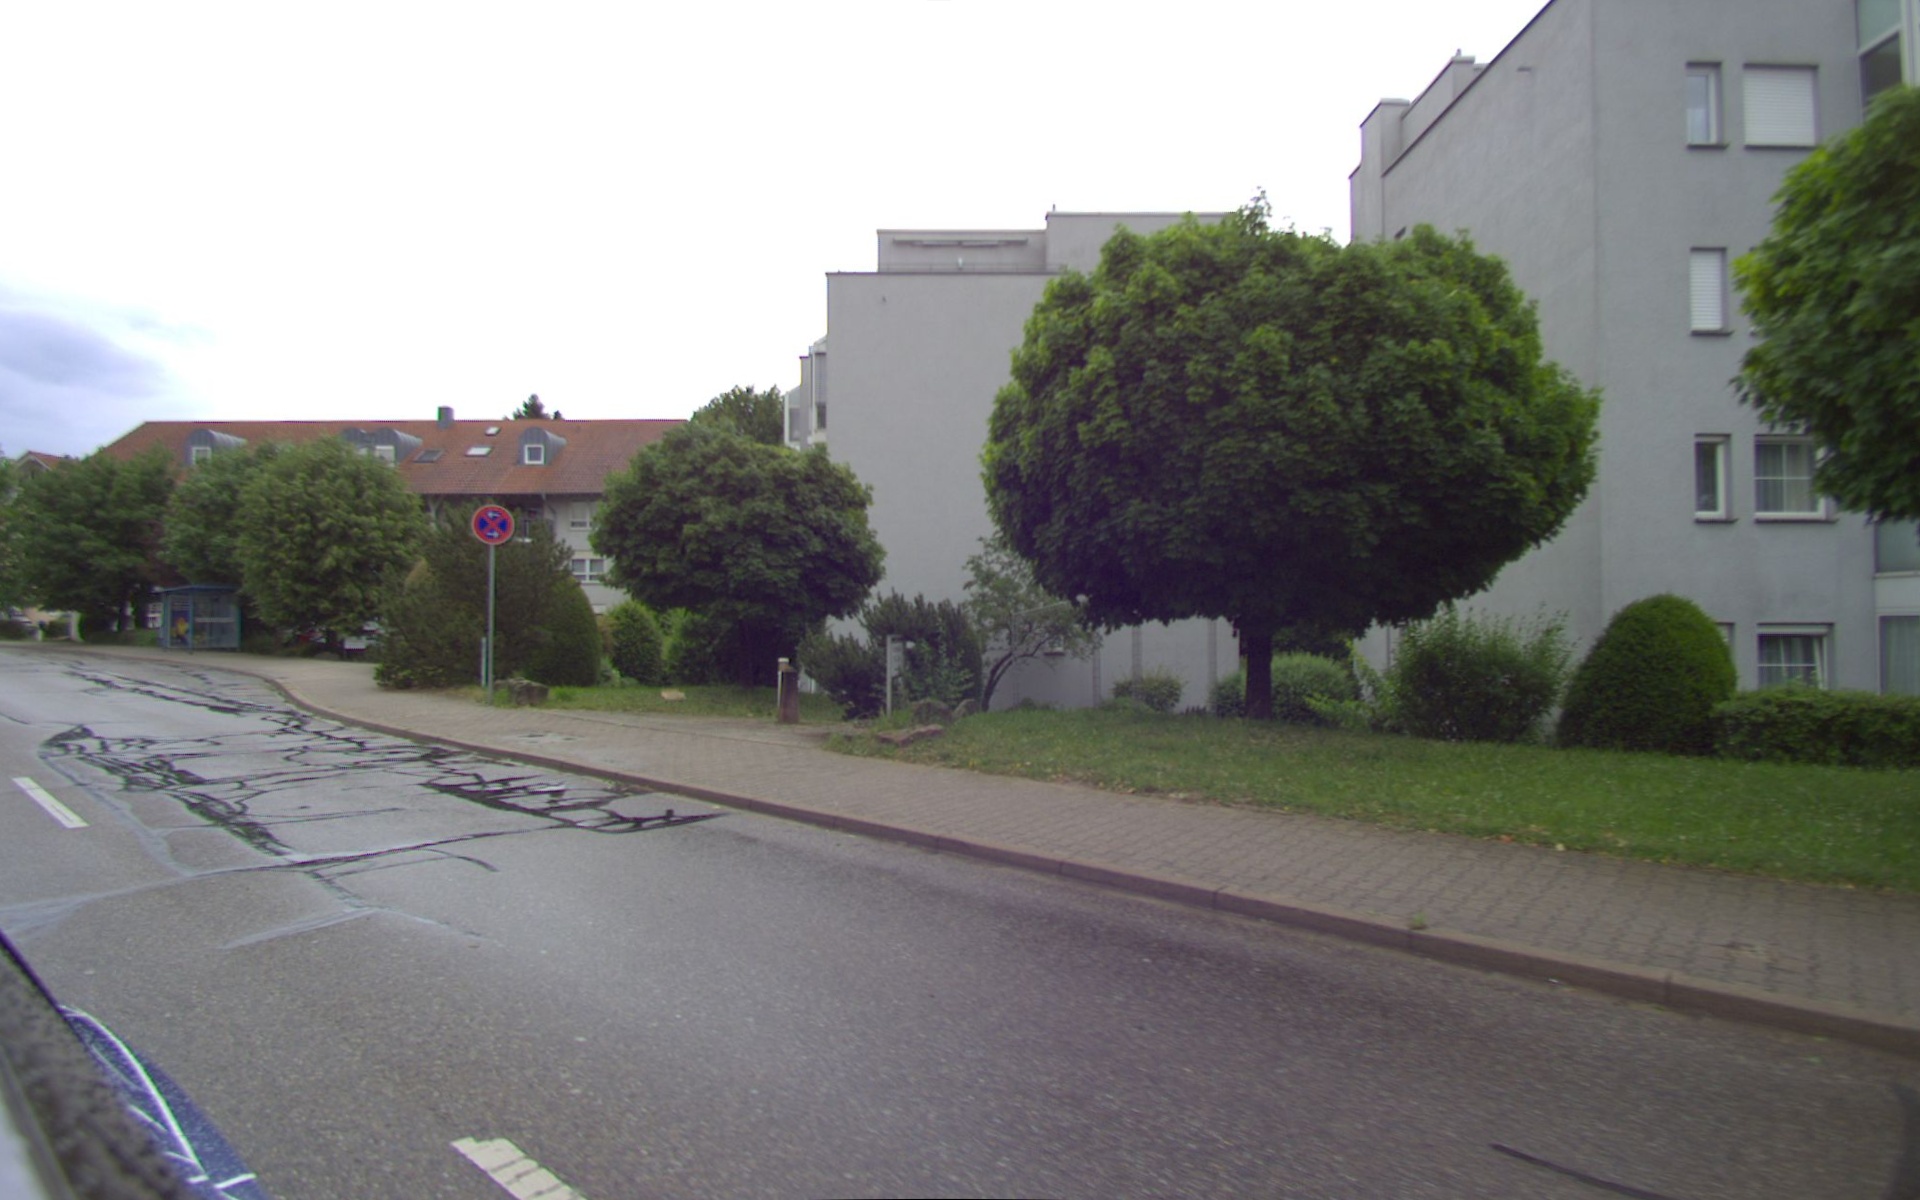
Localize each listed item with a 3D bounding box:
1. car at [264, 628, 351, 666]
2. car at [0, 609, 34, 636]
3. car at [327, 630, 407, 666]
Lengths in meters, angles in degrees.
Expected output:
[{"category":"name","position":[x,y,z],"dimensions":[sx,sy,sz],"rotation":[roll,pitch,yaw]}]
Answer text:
[{"category":"car","position":[-28.060,2.001,43.501],"dimensions":[3.991,1.475,1.753],"rotation":[0,-1,35]},{"category":"car","position":[-59.898,1.380,62.434],"dimensions":[3.943,1.614,1.738],"rotation":[1,-2,0]},{"category":"car","position":[-26.628,2.129,45.402],"dimensions":[3.991,1.475,1.596],"rotation":[0,-1,35]}]
